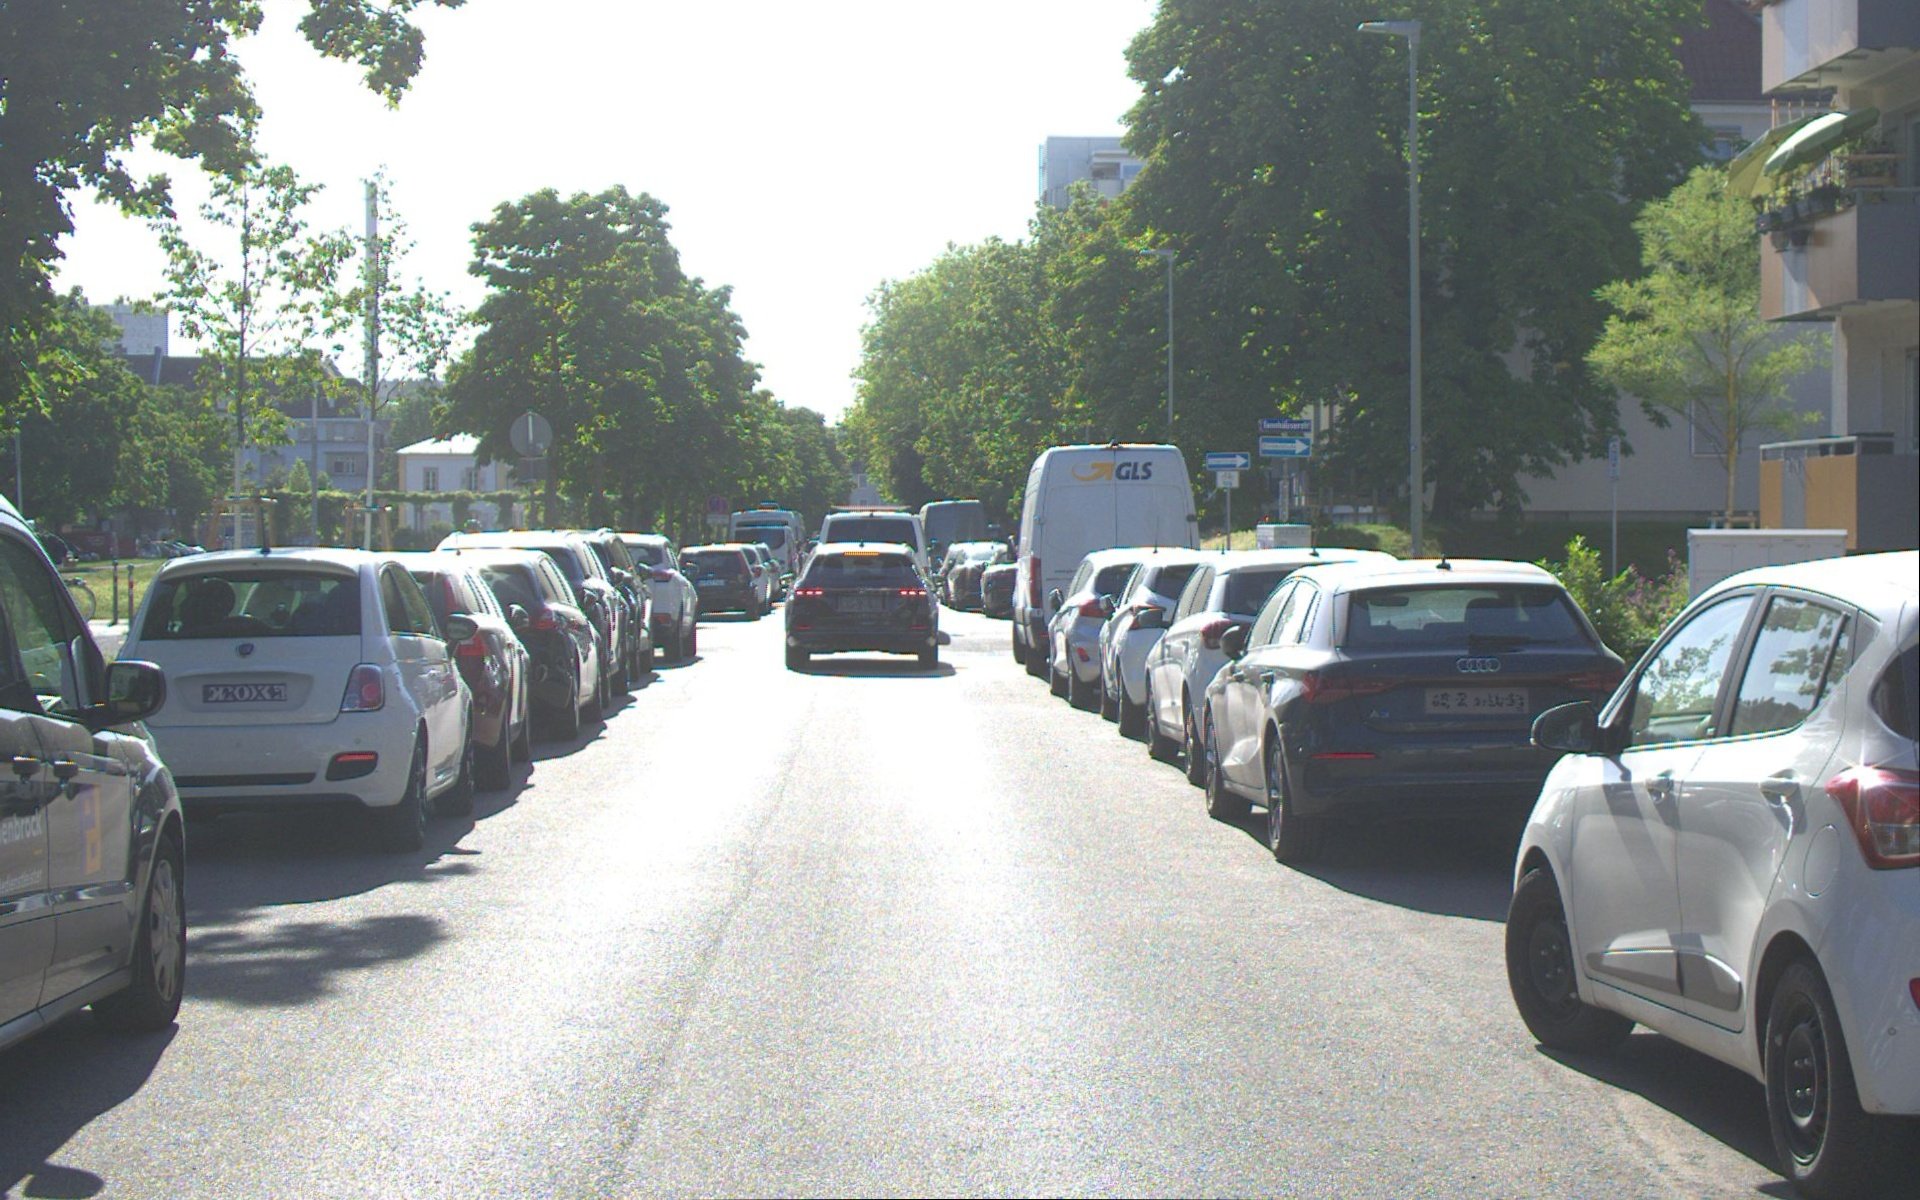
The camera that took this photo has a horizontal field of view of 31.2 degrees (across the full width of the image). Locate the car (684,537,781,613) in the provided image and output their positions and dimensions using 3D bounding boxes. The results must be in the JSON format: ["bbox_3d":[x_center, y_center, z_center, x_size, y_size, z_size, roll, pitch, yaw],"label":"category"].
[{"bbox_3d":[-4.731,-0.532,71.887,1.777,1.490,3.875,-2,0,0],"label":"car"}]

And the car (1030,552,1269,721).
[{"bbox_3d":[1.770,0.304,33.436,1.848,1.461,4.202,1,1,-3],"label":"car"}]

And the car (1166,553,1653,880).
[{"bbox_3d":[2.192,0.499,17.946,1.699,1.430,4.472,-1,1,-3],"label":"car"}]

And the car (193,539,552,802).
[{"bbox_3d":[-3.723,0.372,22.517,1.755,1.487,4.669,-2,1,-3],"label":"car"}]

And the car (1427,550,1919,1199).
[{"bbox_3d":[2.559,0.623,9.371,1.747,1.494,3.862,0,1,-5],"label":"car"}]

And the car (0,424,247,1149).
[{"bbox_3d":[-3.311,0.452,9.270,1.864,1.778,4.992,0,0,-2],"label":"car"}]

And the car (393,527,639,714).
[{"bbox_3d":[-4.138,0.140,32.709,1.819,1.604,4.739,-1,1,-2],"label":"car"}]

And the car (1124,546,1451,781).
[{"bbox_3d":[2.131,0.358,23.376,1.721,1.430,4.153,0,1,-1],"label":"car"}]

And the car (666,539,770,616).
[{"bbox_3d":[-4.715,-0.438,67.365,1.748,1.420,3.916,-2,0,0],"label":"car"}]

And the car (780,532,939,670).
[{"bbox_3d":[-1.159,-0.024,41.094,1.779,1.526,4.000,1,1,0],"label":"car"}]

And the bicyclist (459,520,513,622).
[{"bbox_3d":[-7.432,-0.460,53.914,0.788,1.591,0.696,0,1,-4],"label":"bicyclist"}]

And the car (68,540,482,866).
[{"bbox_3d":[-3.487,0.454,18.077,1.586,1.487,3.686,-2,1,-3],"label":"car"}]

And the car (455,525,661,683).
[{"bbox_3d":[-4.469,0.001,38.791,1.842,1.633,4.715,-1,1,-1],"label":"car"}]

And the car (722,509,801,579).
[{"bbox_3d":[-5.647,-1.606,98.058,2.098,1.936,4.127,0,1,-1],"label":"car"}]

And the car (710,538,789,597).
[{"bbox_3d":[-5.457,-0.854,89.603,1.833,1.495,4.127,0,1,0],"label":"car"}]

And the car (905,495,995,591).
[{"bbox_3d":[-0.320,-1.656,98.677,2.162,2.680,5.417,0,1,-5],"label":"car"}]

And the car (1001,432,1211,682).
[{"bbox_3d":[1.653,-0.542,41.393,2.142,2.703,6.842,-1,1,0],"label":"car"}]

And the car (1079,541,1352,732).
[{"bbox_3d":[2.056,0.246,28.752,1.878,1.470,4.140,0,1,-1],"label":"car"}]

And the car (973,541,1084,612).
[{"bbox_3d":[1.384,-0.501,71.216,2.125,1.333,4.506,-2,1,0],"label":"car"}]

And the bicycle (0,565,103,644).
[{"bbox_3d":[-15.022,0.067,55.690,2.146,1.254,0.715,0,1,-21],"label":"bicycle"}]

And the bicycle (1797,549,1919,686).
[{"bbox_3d":[8.013,0.156,30.521,0.595,1.172,2.014,0,-1,-3],"label":"bicycle"}]

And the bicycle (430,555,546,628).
[{"bbox_3d":[-7.399,-0.133,53.925,1.760,1.123,0.663,0,0,-4],"label":"bicycle"}]

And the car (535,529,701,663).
[{"bbox_3d":[-4.448,-0.090,45.244,1.756,1.641,4.287,-1,1,0],"label":"car"}]

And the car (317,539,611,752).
[{"bbox_3d":[-3.899,0.298,27.684,1.873,1.514,4.471,-2,1,-3],"label":"car"}]

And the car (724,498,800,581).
[{"bbox_3d":[-5.994,-1.840,104.461,2.098,2.488,4.127,0,1,0],"label":"car"}]

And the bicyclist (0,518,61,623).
[{"bbox_3d":[-15.049,-0.479,55.675,0.876,1.685,0.632,-1,1,-21],"label":"bicyclist"}]

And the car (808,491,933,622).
[{"bbox_3d":[-1.408,-0.710,55.439,1.894,1.984,4.010,-1,1,0],"label":"car"}]

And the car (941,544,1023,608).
[{"bbox_3d":[0.475,-0.557,77.156,1.779,1.366,4.127,0,1,-1],"label":"car"}]
